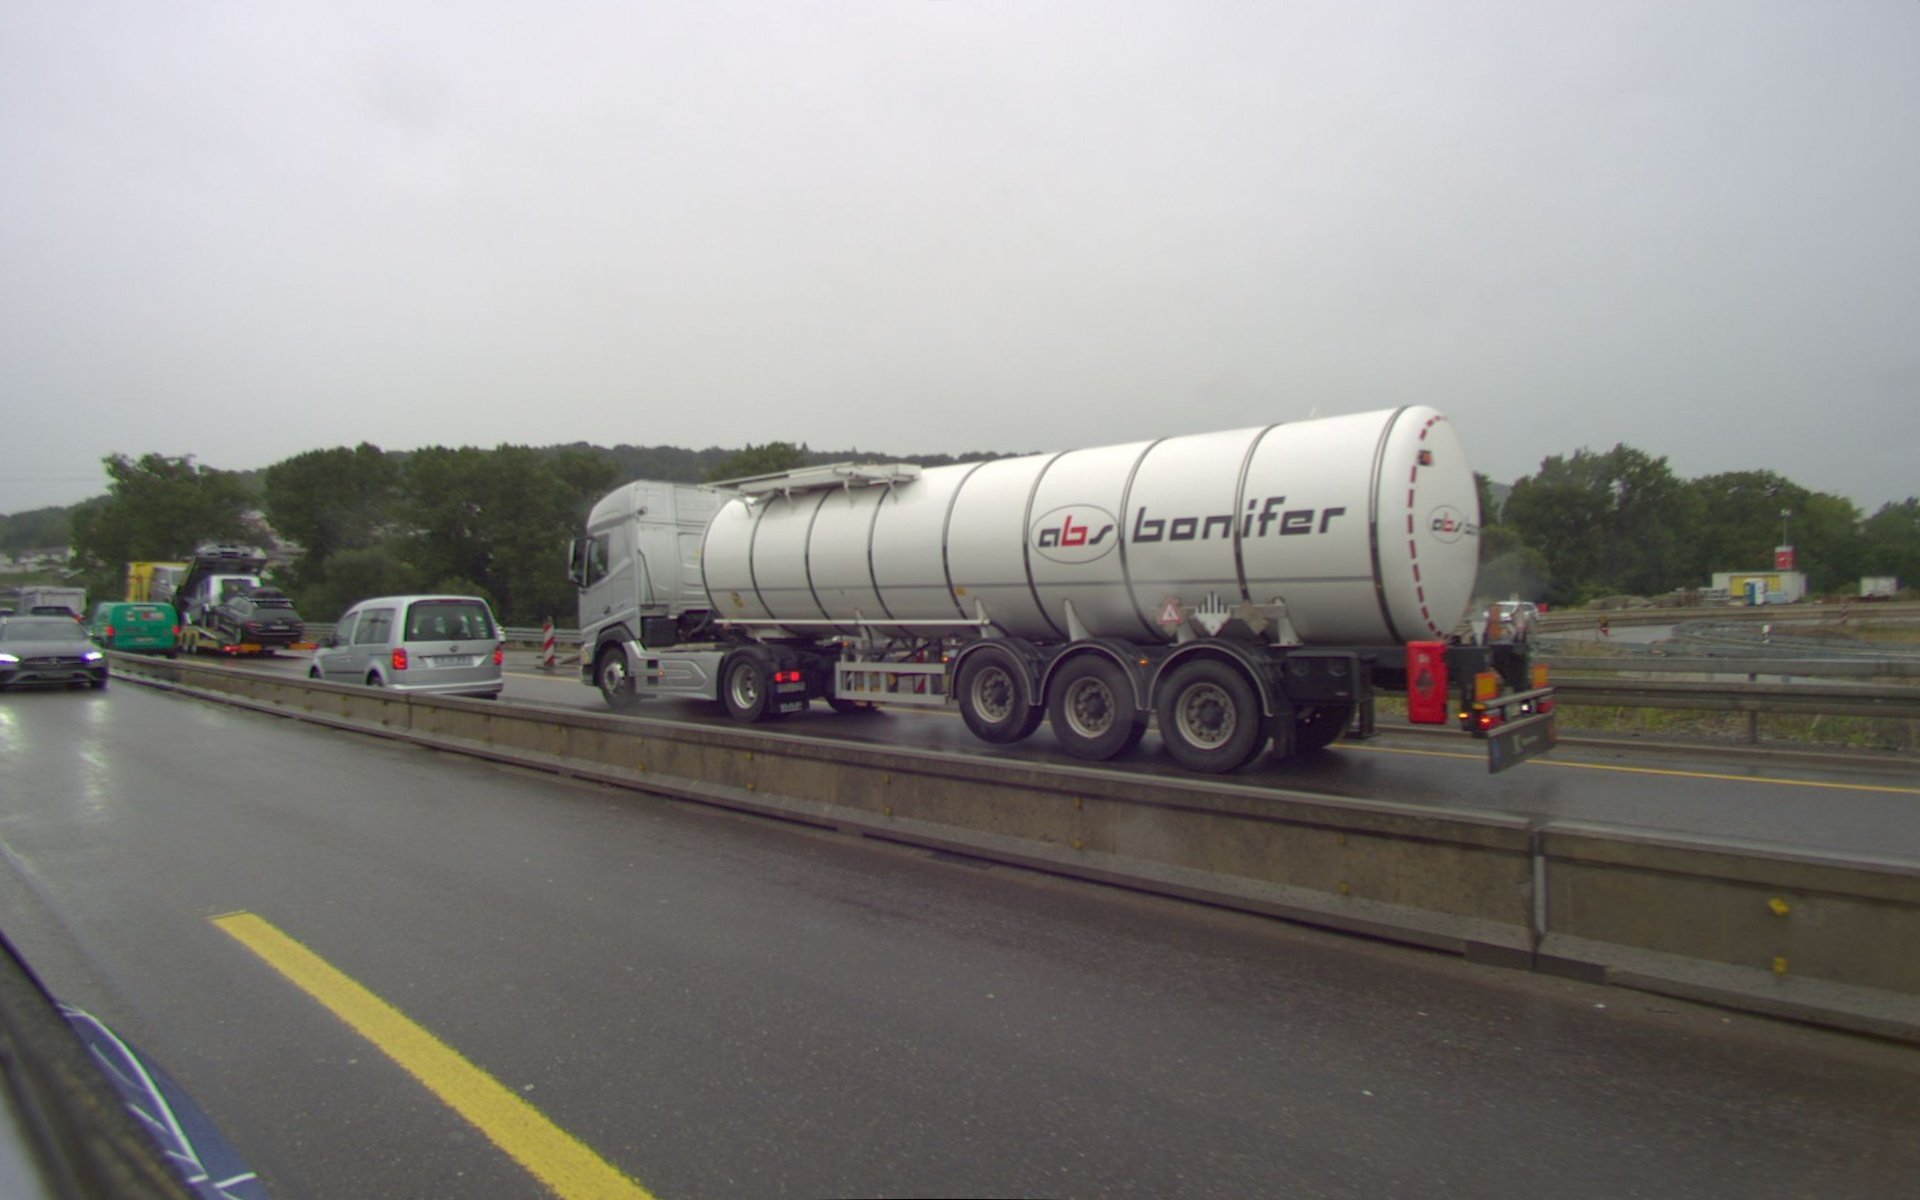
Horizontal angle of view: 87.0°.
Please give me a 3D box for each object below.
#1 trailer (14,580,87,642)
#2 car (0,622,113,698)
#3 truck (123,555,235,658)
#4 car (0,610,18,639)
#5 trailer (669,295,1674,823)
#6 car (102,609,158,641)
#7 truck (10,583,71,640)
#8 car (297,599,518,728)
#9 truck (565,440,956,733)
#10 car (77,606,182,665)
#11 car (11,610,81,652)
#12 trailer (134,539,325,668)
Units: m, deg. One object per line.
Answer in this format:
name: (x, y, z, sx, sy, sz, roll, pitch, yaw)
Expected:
trailer: (-62.776, 0.805, 69.766, 9.817, 3.994, 2.657, -1, -2, 42)
car: (-19.635, 1.195, 21.531, 4.483, 1.449, 1.926, -1, -1, 43)
truck: (-33.334, 0.313, 43.114, 6.146, 4.093, 2.720, -1, -1, 42)
car: (-62.593, 1.577, 65.505, 5.358, 1.806, 1.855, -1, -1, 42)
trailer: (1.019, -0.194, 12.053, 11.998, 3.705, 2.593, -1, -1, 41)
car: (-54.811, 1.654, 66.809, 5.046, 2.029, 2.240, -1, -1, 43)
truck: (-66.312, 0.857, 72.953, 5.272, 3.957, 2.657, -1, -2, 42)
car: (-8.990, 0.932, 16.326, 4.161, 1.813, 1.846, -1, -1, 42)
truck: (-3.390, -0.118, 15.956, 6.592, 3.705, 2.593, -1, -1, 41)
car: (-27.074, 1.129, 32.927, 4.686, 1.772, 1.972, -1, -1, 42)
car: (-41.011, 1.369, 45.392, 5.188, 1.819, 1.768, -1, -2, 42)
trailer: (-27.963, 0.209, 38.214, 15.355, 4.073, 2.720, -1, -1, 42)
